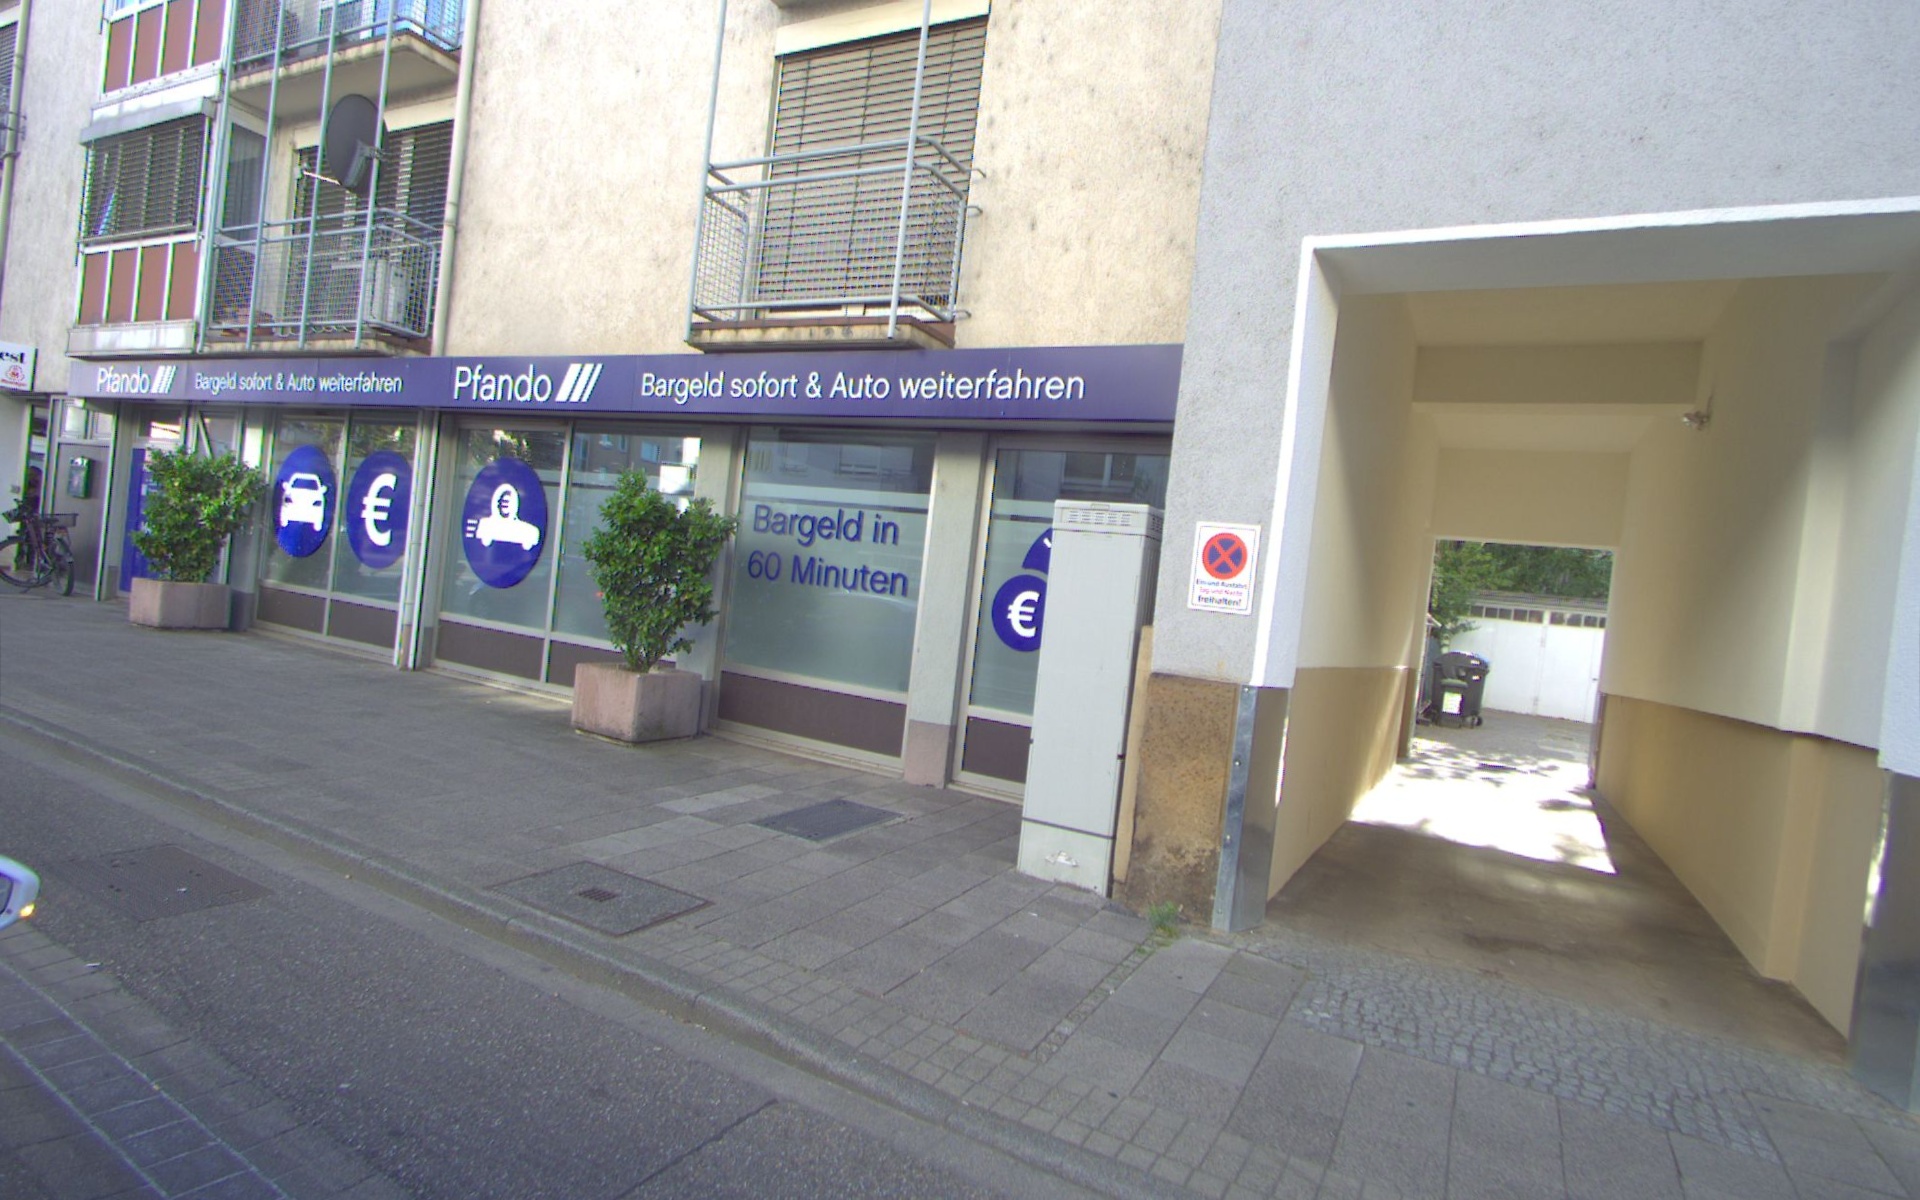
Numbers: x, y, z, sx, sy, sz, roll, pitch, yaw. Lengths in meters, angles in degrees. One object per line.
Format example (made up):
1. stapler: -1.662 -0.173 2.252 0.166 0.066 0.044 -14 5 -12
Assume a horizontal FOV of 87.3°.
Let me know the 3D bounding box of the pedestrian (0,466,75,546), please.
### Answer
1. pedestrian: -14.257 -1.439 15.468 0.667 1.102 0.624 7 2 -5

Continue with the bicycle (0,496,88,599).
1. bicycle: -11.888 -0.689 12.840 1.747 1.176 0.497 6 0 29

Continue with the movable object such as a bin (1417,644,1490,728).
1. movable object such as a bin: 10.000 1.744 20.369 1.092 1.511 1.329 6 -2 30
